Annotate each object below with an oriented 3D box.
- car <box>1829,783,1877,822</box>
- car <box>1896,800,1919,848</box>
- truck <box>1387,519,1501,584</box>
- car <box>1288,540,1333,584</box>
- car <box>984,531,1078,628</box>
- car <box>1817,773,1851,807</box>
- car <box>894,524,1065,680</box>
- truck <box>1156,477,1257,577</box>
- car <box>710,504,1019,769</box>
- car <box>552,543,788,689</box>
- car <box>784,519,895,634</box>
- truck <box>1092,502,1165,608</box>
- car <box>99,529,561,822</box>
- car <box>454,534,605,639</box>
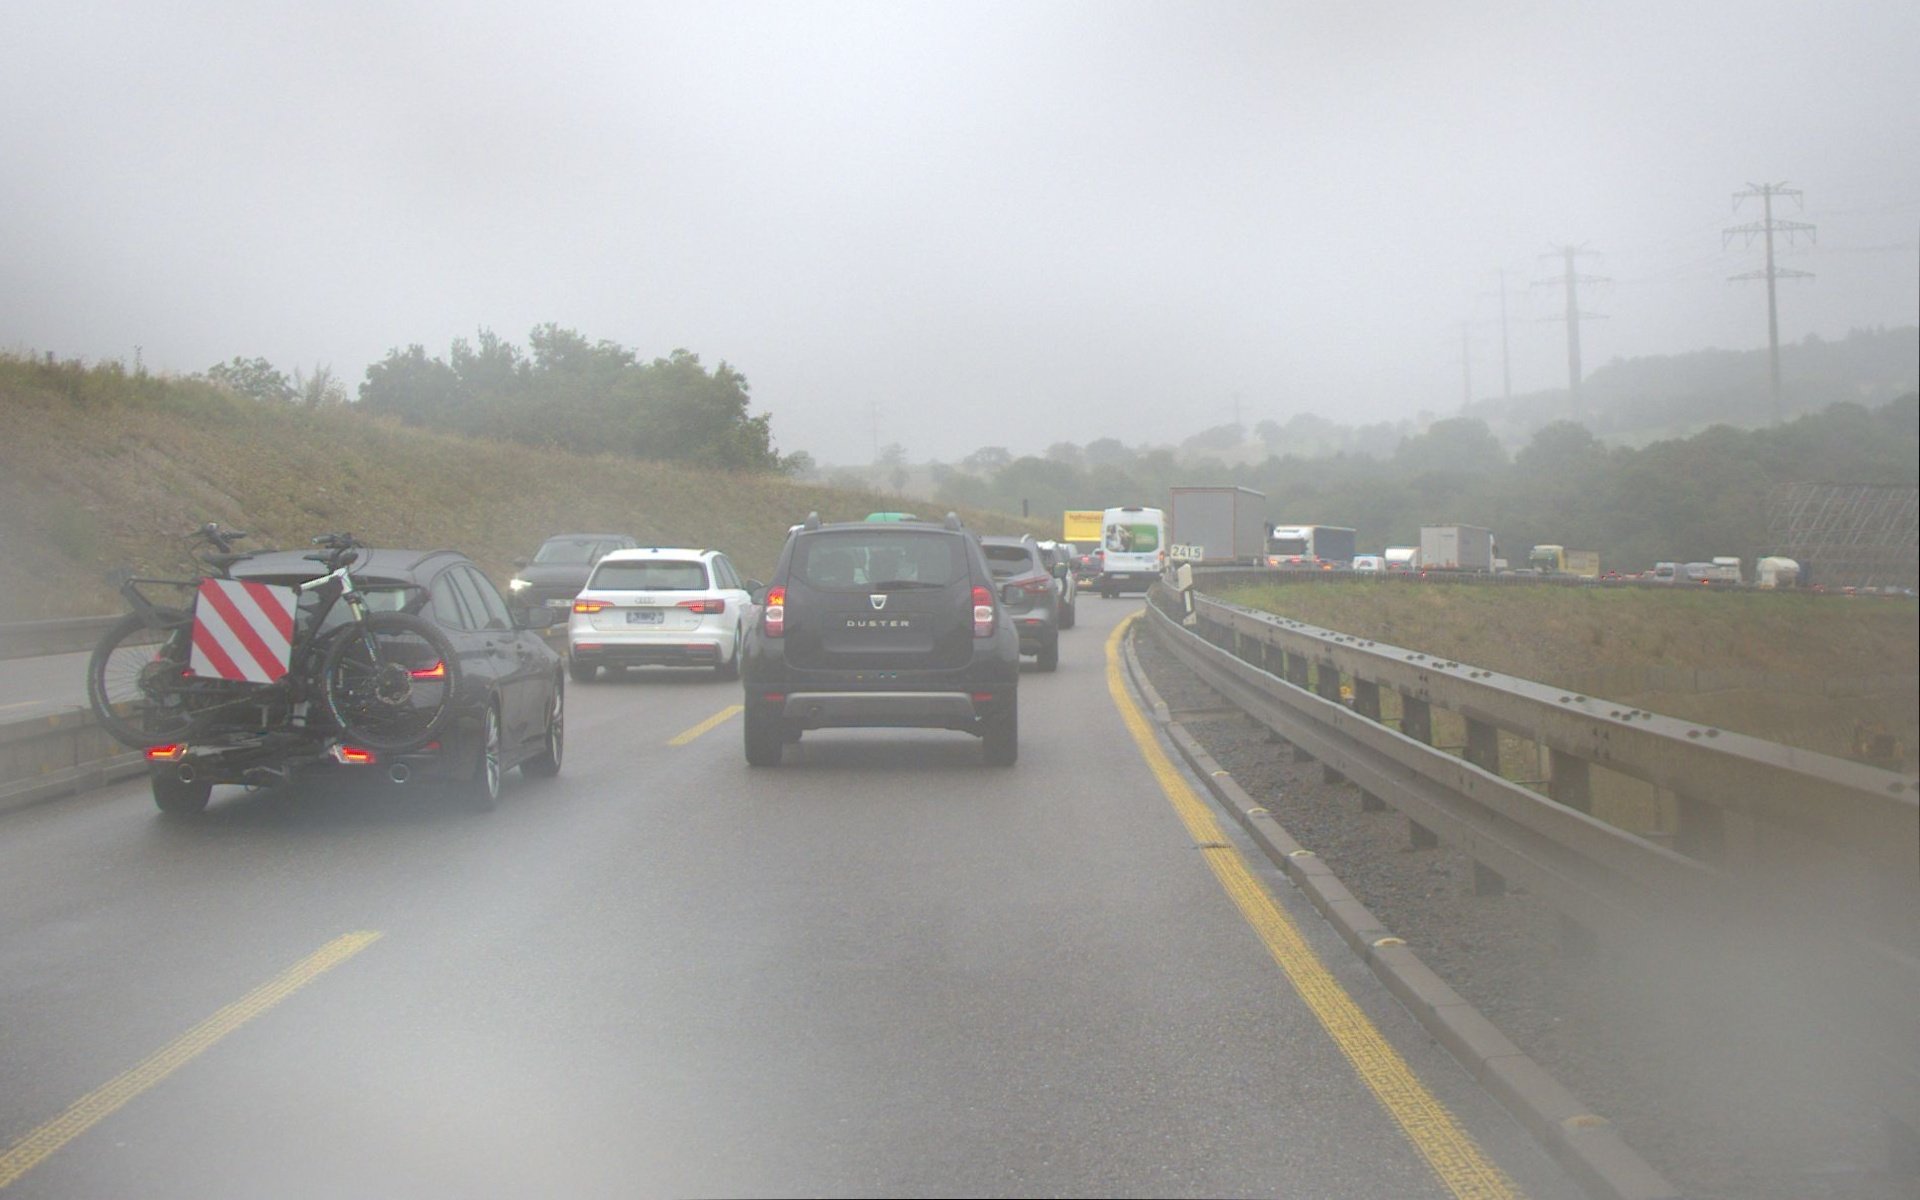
[{"bbox_3d":[48.353,10.967,186.261,1.994,1.809,3.999,1,1,7],"label":"car"},{"bbox_3d":[47.429,10.967,168.260,2.365,2.007,3.999,1,1,5],"label":"car"},{"bbox_3d":[32.643,-3.223,231.183,4.722,4.135,15.668,2,1,19],"label":"truck"},{"bbox_3d":[15.656,-1.700,153.397,1.775,1.909,3.999,1,1,9],"label":"car"},{"bbox_3d":[1.299,-0.386,61.462,1.530,1.635,4.012,1,1,3],"label":"car"},{"bbox_3d":[60.418,13.131,237.579,1.995,2.007,3.996,2,1,18],"label":"car"},{"bbox_3d":[0.280,-0.013,40.488,1.868,1.702,4.000,1,1,2],"label":"car"},{"bbox_3d":[9.723,-2.832,134.669,3.201,3.748,8.506,1,1,9],"label":"truck"},{"bbox_3d":[-0.565,0.204,23.278,1.804,1.640,3.776,0,1,3],"label":"car"},{"bbox_3d":[-3.101,0.127,37.650,1.868,1.455,4.548,1,1,4],"label":"car"},{"bbox_3d":[-2.040,-0.431,59.133,1.660,1.873,4.020,1,1,1],"label":"car"},{"bbox_3d":[5.256,-1.424,107.157,2.149,3.155,6.459,1,1,3],"label":"truck"},{"bbox_3d":[-3.405,0.355,19.261,1.829,1.471,3.776,0,1,1],"label":"car"},{"bbox_3d":[-6.919,-0.257,55.728,1.811,1.587,4.902,-1,1,0],"label":"car"}]
